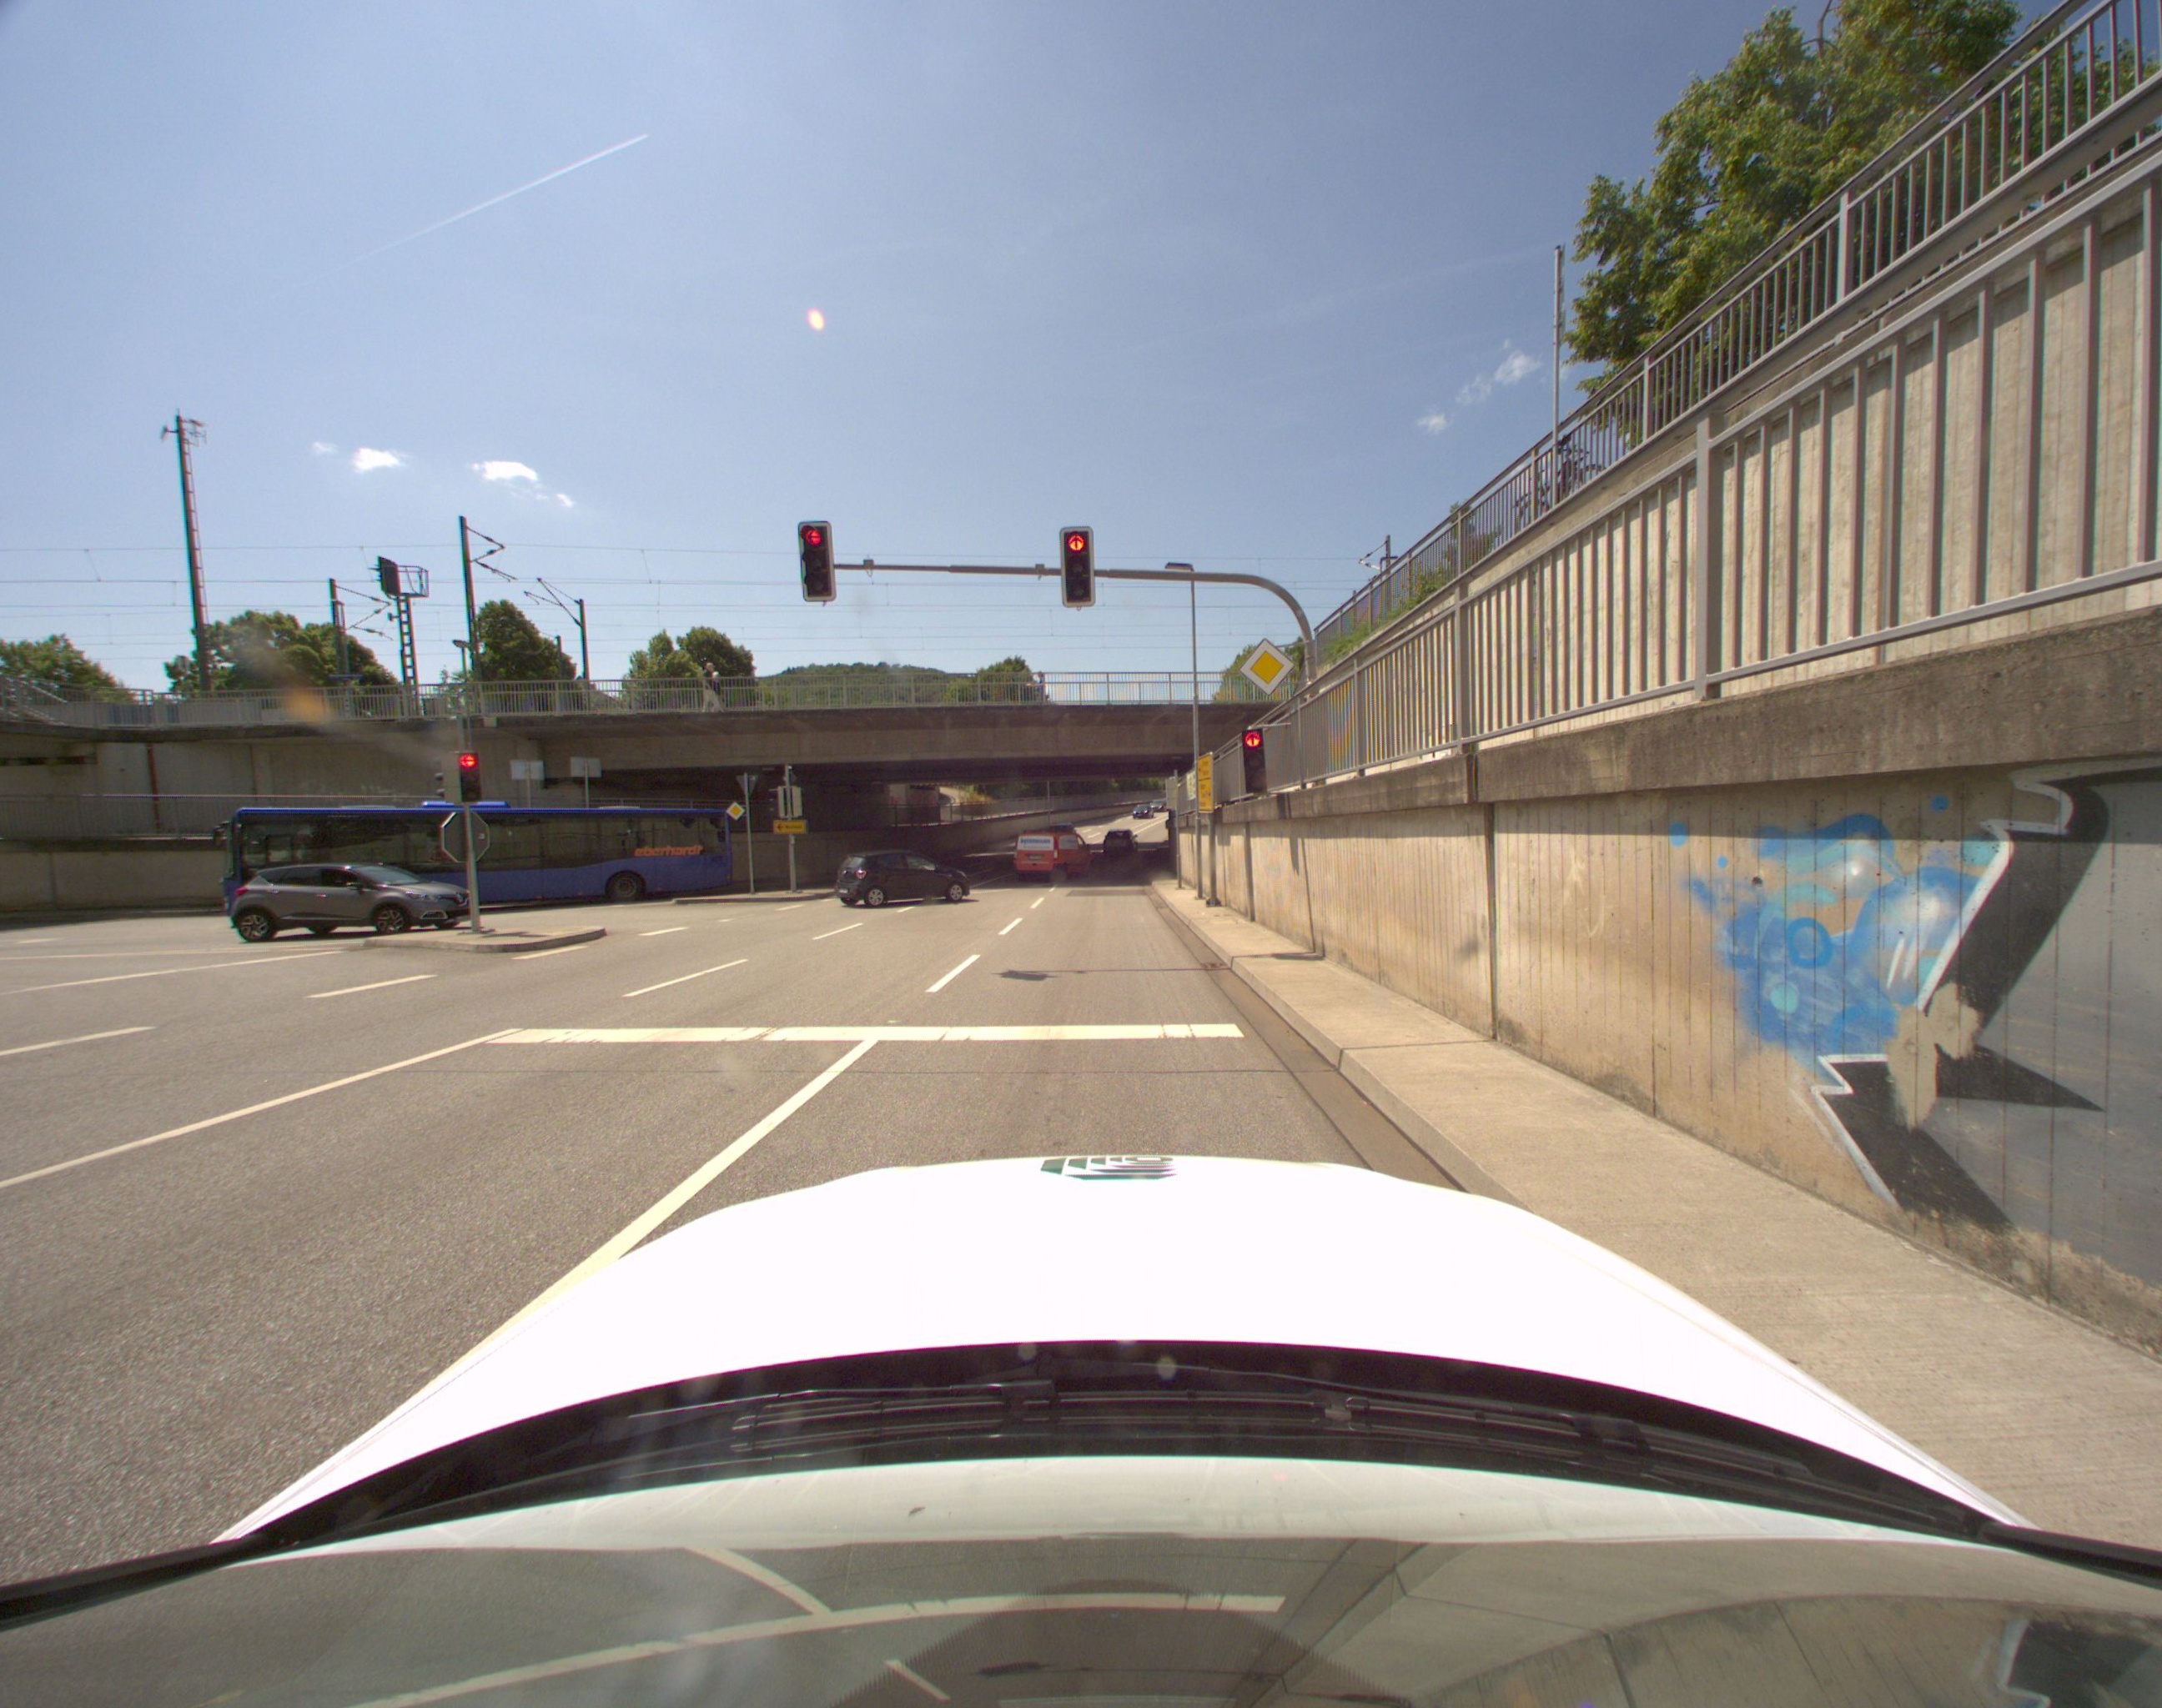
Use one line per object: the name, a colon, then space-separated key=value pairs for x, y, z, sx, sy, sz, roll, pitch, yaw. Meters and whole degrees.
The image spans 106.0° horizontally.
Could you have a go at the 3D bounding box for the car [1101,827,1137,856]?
car: x=2.307 y=-0.758 z=48.420 sx=1.794 sy=1.617 sz=4.010 roll=-1 pitch=2 yaw=7

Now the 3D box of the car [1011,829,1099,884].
car: x=-0.931 y=0.023 z=32.483 sx=1.857 sy=1.932 sz=4.744 roll=0 pitch=2 yaw=20

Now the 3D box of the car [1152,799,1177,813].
car: x=10.173 y=-5.849 z=99.371 sx=1.976 sy=1.588 sz=4.022 roll=0 pitch=3 yaw=21

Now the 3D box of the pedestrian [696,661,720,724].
pedestrian: x=-13.089 y=-5.667 z=28.616 sx=0.576 sy=2.081 sz=0.533 roll=-2 pitch=0 yaw=-9

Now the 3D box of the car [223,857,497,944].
car: x=-15.535 y=0.953 z=17.779 sx=3.981 sy=1.588 sz=1.997 roll=-1 pitch=2 yaw=-6

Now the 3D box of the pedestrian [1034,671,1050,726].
pedestrian: x=-1.560 y=-6.153 z=32.353 sx=0.538 sy=2.081 sz=0.534 roll=-2 pitch=0 yaw=-5

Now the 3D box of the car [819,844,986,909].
car: x=-4.873 y=0.545 z=22.449 sx=4.019 sy=1.508 sz=1.978 roll=-2 pitch=2 yaw=-37

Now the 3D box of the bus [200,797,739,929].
bus: x=-17.236 y=-0.062 z=24.638 sx=12.444 sy=3.172 sz=2.559 roll=-3 pitch=3 yaw=-41

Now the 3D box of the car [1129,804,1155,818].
car: x=6.706 y=-4.704 z=88.691 sx=1.767 sy=1.436 sz=4.021 roll=0 pitch=2 yaw=20
